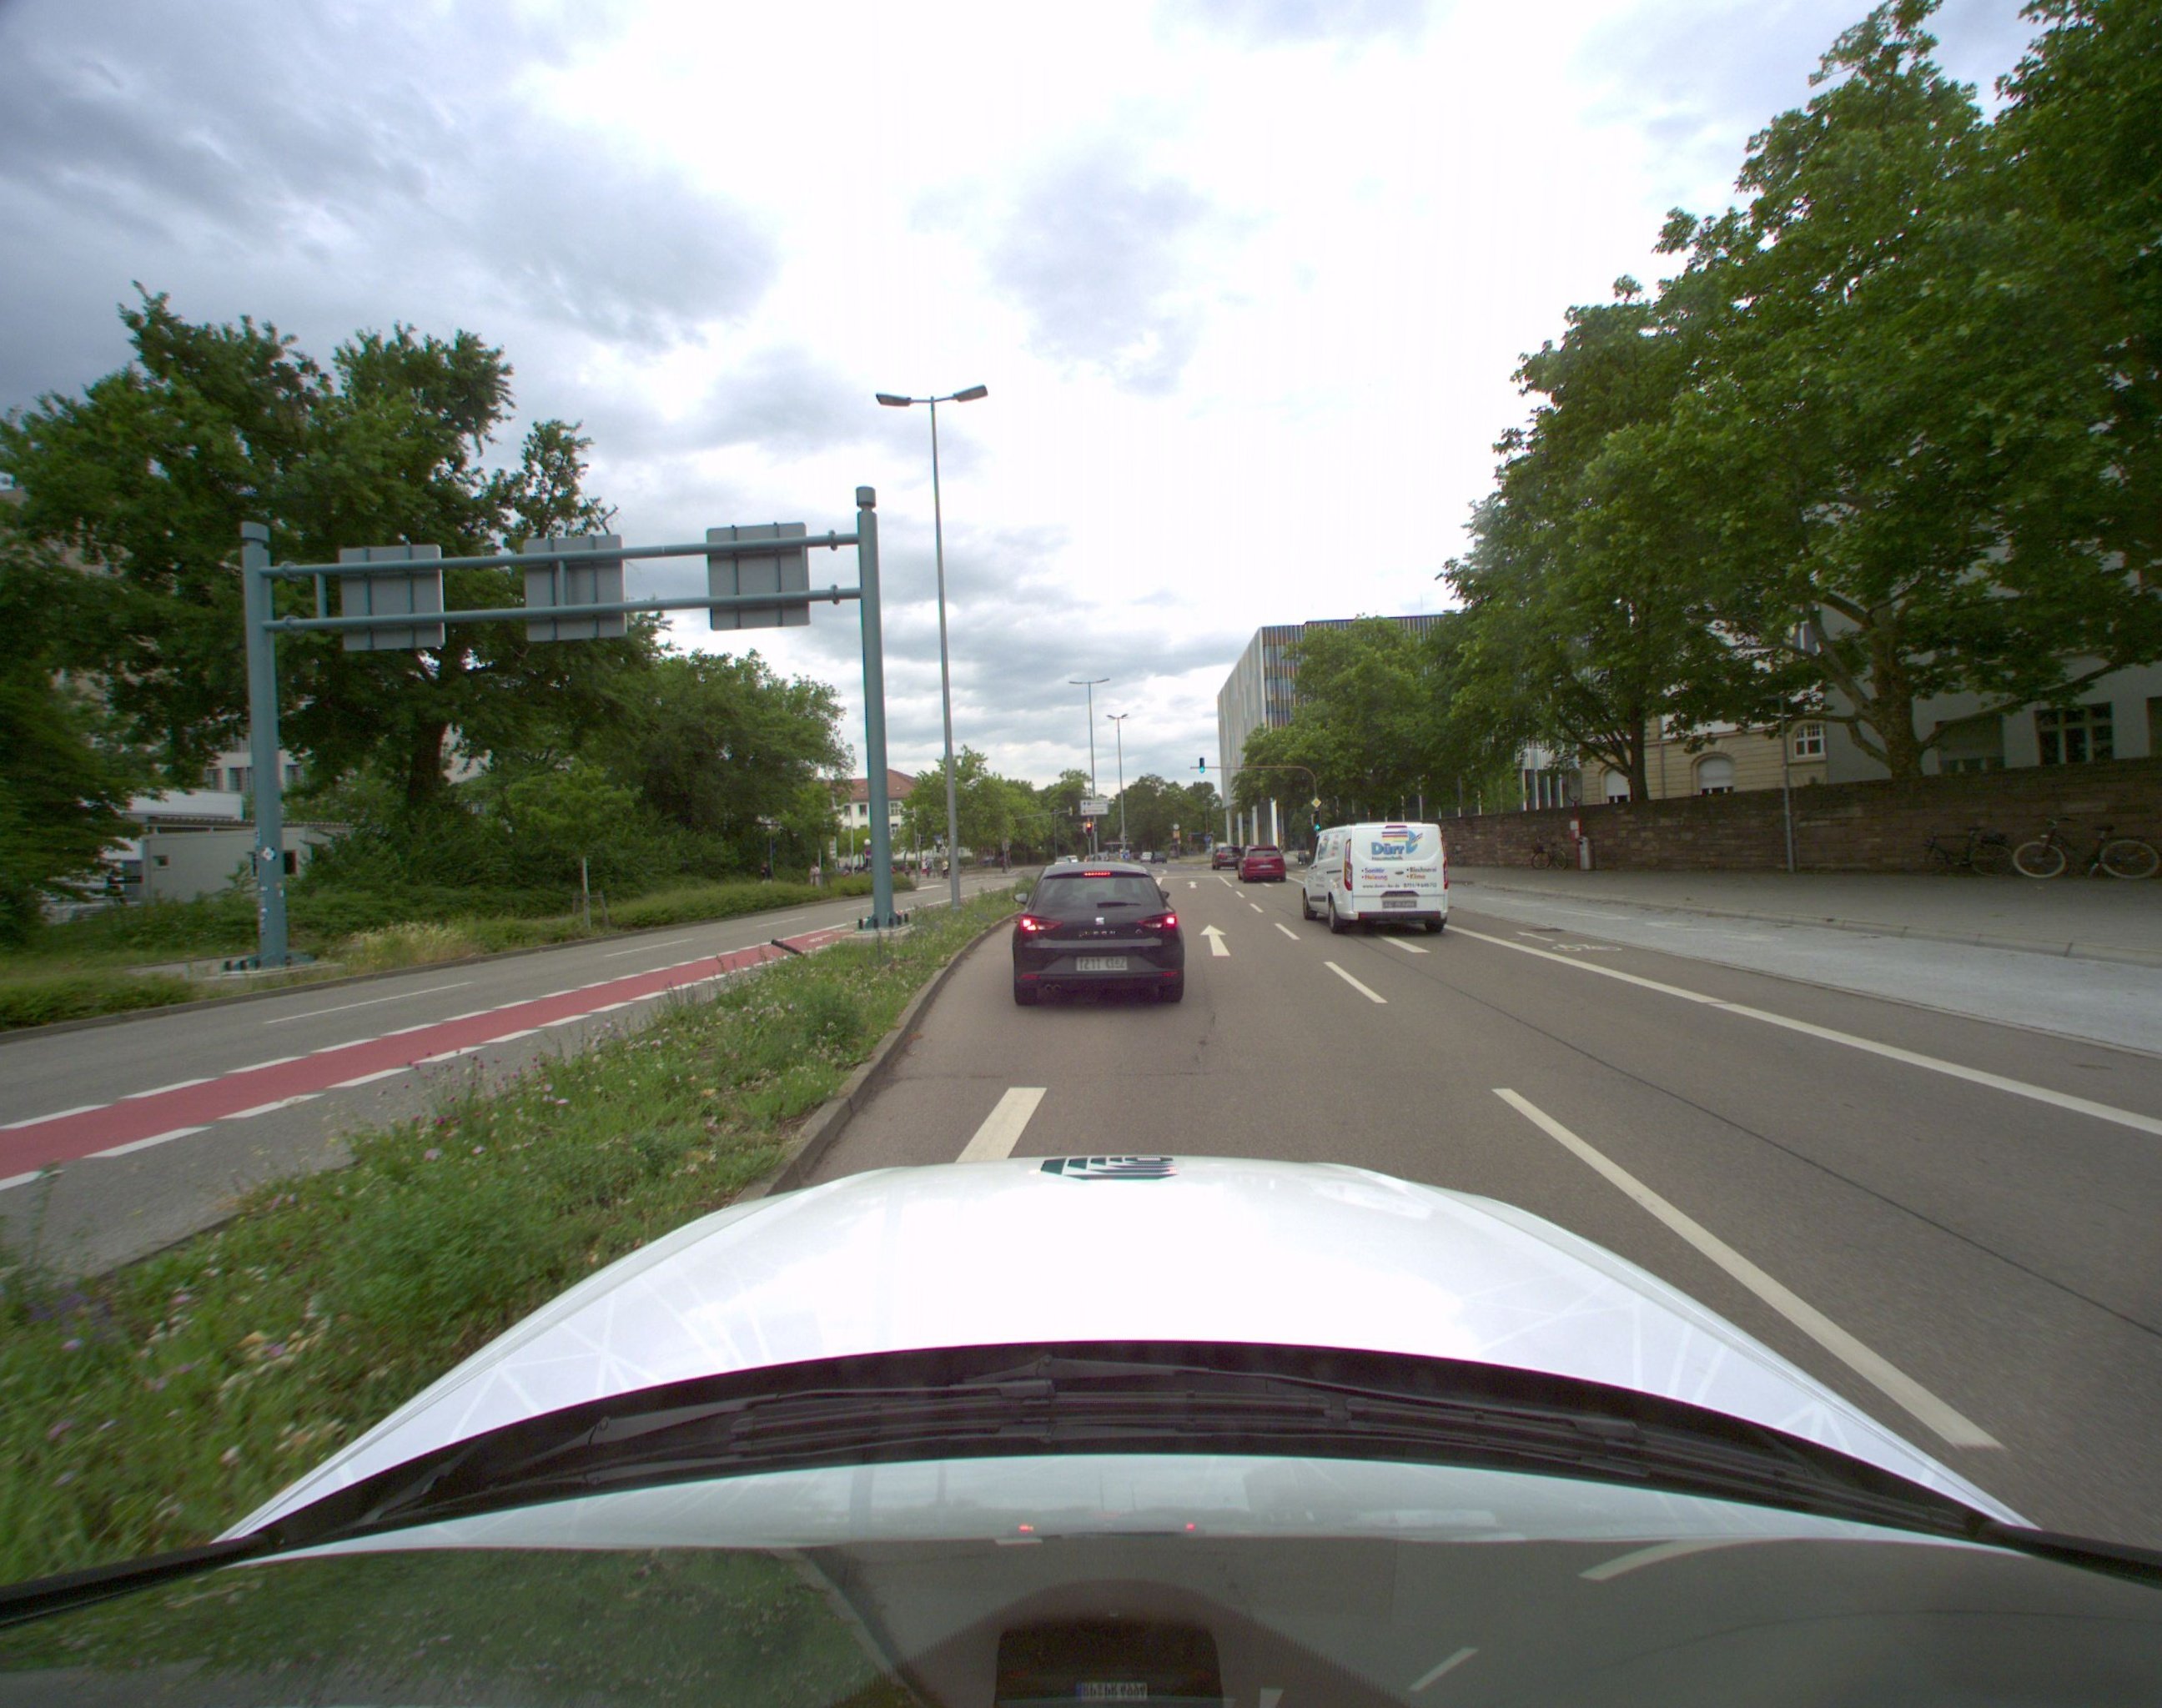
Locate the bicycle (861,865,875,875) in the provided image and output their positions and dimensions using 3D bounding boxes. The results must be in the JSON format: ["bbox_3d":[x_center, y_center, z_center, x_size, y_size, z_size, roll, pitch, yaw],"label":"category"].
[{"bbox_3d":[-24.340,1.798,93.088,1.403,1.052,0.586,-4,0,-14],"label":"bicycle"}]

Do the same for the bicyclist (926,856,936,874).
[{"bbox_3d":[-13.775,1.001,74.658,0.664,1.635,0.961,-1,-1,0],"label":"bicyclist"}]

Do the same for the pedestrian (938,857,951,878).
[{"bbox_3d":[-12.250,1.226,73.059,0.845,1.740,0.822,-1,-5,-32],"label":"pedestrian"}]

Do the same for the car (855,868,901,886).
[{"bbox_3d":[-18.128,2.062,72.990,3.643,1.223,1.564,-2,7,0],"label":"car"}]

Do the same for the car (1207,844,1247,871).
[{"bbox_3d":[10.088,0.231,56.625,1.908,1.664,4.113,-4,0,0],"label":"car"}]

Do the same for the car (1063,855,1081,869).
[{"bbox_3d":[-0.982,0.919,93.622,1.698,1.431,4.230,-4,0,3],"label":"car"}]

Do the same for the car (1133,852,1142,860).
[{"bbox_3d":[10.476,0.352,150.459,1.499,1.193,3.166,-4,0,3],"label":"car"}]

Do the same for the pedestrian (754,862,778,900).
[{"bbox_3d":[-14.898,1.275,38.522,0.617,1.729,0.820,-4,0,6],"label":"pedestrian"}]

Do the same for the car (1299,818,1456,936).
[{"bbox_3d":[5.579,0.383,15.926,1.956,1.972,4.353,-1,0,7],"label":"car"}]

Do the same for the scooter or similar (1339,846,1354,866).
[{"bbox_3d":[16.356,0.121,50.164,0.428,1.179,1.714,-5,0,31],"label":"scooter or similar"}]

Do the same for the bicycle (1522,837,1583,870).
[{"bbox_3d":[17.237,-0.014,29.818,0.848,1.127,1.918,-5,0,-8],"label":"bicycle"}]

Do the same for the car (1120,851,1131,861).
[{"bbox_3d":[7.494,0.295,137.711,1.688,1.503,4.013,-4,0,3],"label":"car"}]

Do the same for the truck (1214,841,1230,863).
[{"bbox_3d":[15.265,-0.239,88.265,1.311,2.243,3.408,-4,0,6],"label":"truck"}]

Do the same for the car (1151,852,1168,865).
[{"bbox_3d":[9.730,0.542,101.039,1.891,1.354,3.886,-4,0,3],"label":"car"}]

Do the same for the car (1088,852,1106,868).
[{"bbox_3d":[1.733,0.650,87.550,1.757,1.460,4.793,-5,-1,1],"label":"car"}]

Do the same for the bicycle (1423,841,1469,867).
[{"bbox_3d":[16.571,0.018,37.064,0.939,1.073,1.964,-5,0,-8],"label":"bicycle"}]

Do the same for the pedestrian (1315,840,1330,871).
[{"bbox_3d":[13.781,0.104,46.477,0.459,1.739,0.550,-4,0,-33],"label":"pedestrian"}]

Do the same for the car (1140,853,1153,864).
[{"bbox_3d":[9.362,0.628,116.864,1.609,1.354,4.004,-5,0,3],"label":"car"}]

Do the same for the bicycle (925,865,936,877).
[{"bbox_3d":[-13.769,1.541,74.753,0.664,1.062,1.619,-1,-1,1],"label":"bicycle"}]

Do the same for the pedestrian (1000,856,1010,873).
[{"bbox_3d":[-7.666,1.058,82.384,0.872,1.586,0.543,-4,0,-1],"label":"pedestrian"}]

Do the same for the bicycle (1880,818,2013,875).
[{"bbox_3d":[18.471,-0.138,17.431,0.721,1.100,1.778,-4,0,-23],"label":"bicycle"}]

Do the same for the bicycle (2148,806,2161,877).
[{"bbox_3d":[19.262,-0.233,13.623,0.499,1.221,1.620,-4,0,-11],"label":"bicycle"}]

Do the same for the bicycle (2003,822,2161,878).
[{"bbox_3d":[18.839,-0.059,15.391,0.654,0.951,1.763,-4,0,-11],"label":"bicycle"}]

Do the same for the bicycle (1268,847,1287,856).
[{"bbox_3d":[21.671,-0.297,89.729,1.889,0.898,0.694,-4,0,-15],"label":"bicycle"}]

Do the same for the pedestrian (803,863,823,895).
[{"bbox_3d":[-14.619,1.359,44.434,0.696,1.636,0.673,-4,0,6],"label":"pedestrian"}]

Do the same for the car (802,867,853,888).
[{"bbox_3d":[-22.508,2.110,72.479,4.052,1.452,1.617,-3,5,-11],"label":"car"}]

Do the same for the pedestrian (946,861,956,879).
[{"bbox_3d":[-11.857,1.480,74.535,0.790,1.558,0.696,-2,-3,-14],"label":"pedestrian"}]

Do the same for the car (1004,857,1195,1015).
[{"bbox_3d":[0.211,0.772,9.489,1.747,1.432,3.770,-1,0,1],"label":"car"}]

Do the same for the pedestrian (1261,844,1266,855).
[{"bbox_3d":[22.928,-0.556,102.215,0.468,1.361,0.447,-4,0,16],"label":"pedestrian"}]

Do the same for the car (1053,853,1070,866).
[{"bbox_3d":[-2.945,0.824,123.173,1.897,1.716,4.008,-4,0,6],"label":"car"}]

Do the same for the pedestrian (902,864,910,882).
[{"bbox_3d":[-15.680,1.661,72.892,0.571,1.526,0.844,-3,-5,-17],"label":"pedestrian"}]

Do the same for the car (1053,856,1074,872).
[{"bbox_3d":[-1.755,1.018,83.799,1.599,1.381,3.816,-4,0,7],"label":"car"}]

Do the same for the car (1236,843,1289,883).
[{"bbox_3d":[7.916,0.347,35.842,1.938,1.624,3.758,-1,1,8],"label":"car"}]

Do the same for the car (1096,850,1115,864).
[{"bbox_3d":[3.181,0.432,105.635,1.911,1.664,4.407,-4,-1,7],"label":"car"}]
